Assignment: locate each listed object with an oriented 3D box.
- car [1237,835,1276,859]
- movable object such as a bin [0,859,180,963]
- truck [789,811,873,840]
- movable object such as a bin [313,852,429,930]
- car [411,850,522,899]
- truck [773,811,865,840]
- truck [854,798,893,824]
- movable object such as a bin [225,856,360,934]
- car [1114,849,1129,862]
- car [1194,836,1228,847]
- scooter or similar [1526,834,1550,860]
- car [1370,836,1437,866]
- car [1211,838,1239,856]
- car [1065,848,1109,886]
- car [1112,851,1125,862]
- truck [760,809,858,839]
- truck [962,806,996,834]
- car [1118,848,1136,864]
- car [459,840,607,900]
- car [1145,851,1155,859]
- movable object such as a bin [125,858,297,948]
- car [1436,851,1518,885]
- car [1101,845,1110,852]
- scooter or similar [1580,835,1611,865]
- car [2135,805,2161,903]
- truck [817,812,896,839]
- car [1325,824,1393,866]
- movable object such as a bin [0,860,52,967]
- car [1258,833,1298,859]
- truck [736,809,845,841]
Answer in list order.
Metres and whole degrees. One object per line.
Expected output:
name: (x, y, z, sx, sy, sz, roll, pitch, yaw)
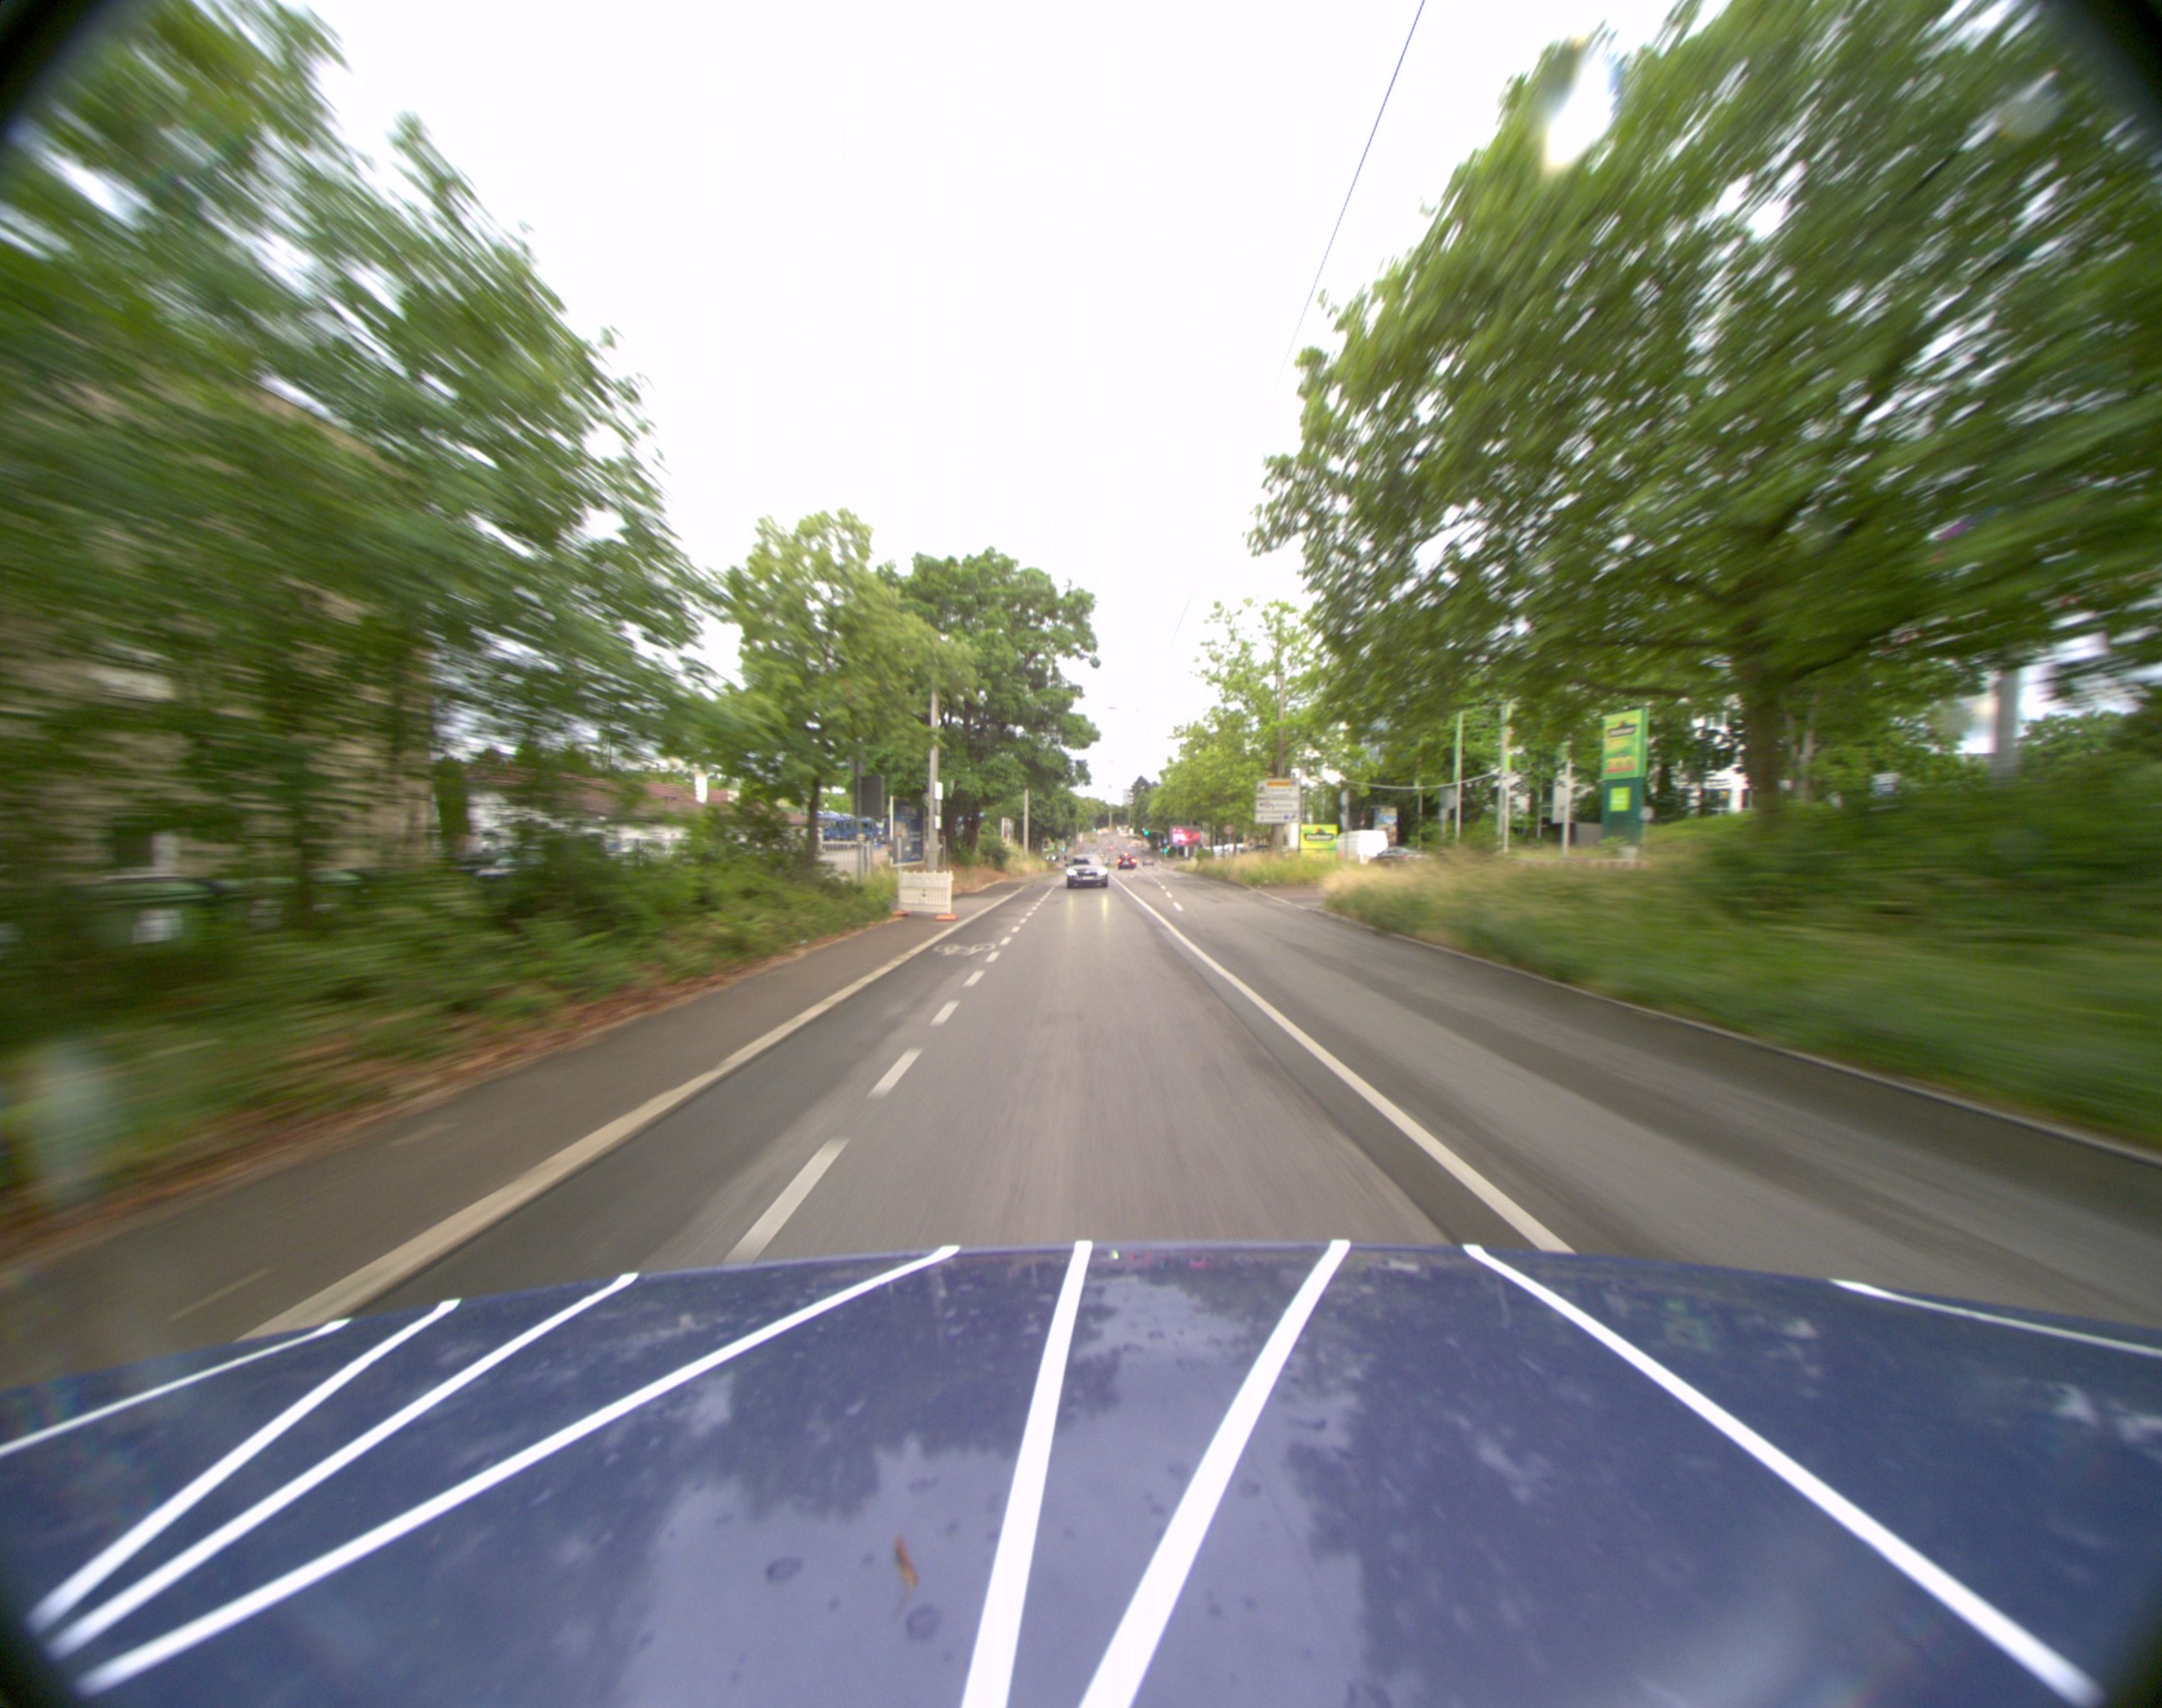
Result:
car: (11.383, -0.492, 49.476, 1.658, 1.444, 3.644, 1, 2, 0)
movable object such as a bin: (-14.897, 0.803, 11.294, 1.308, 1.408, 1.431, 1, 1, 2)
truck: (-25.704, -2.926, 78.294, 7.730, 2.841, 2.585, 0, 3, -1)
movable object such as a bin: (-15.063, 0.749, 16.174, 1.216, 1.577, 1.332, 1, 1, 2)
car: (-21.583, 0.668, 26.843, 1.418, 1.522, 3.016, 1, 2, 0)
truck: (-25.440, -2.808, 74.093, 8.026, 2.724, 2.585, 0, 3, -1)
truck: (-26.937, -5.572, 99.069, 2.256, 3.178, 9.638, -1, 2, 1)
movable object such as a bin: (-15.207, 0.756, 14.713, 1.216, 1.408, 1.332, 1, 1, 2)
car: (5.634, 0.210, 106.416, 1.959, 1.687, 4.626, 1, 1, 3)
car: (22.844, -2.197, 133.536, 5.371, 1.792, 2.218, 0, 3, -6)
scooter or similar: (21.365, -0.315, 35.540, 0.399, 1.150, 0.922, -7, 4, -9)
car: (17.397, -0.184, 41.170, 1.848, 1.460, 3.668, 0, 2, -4)
car: (12.724, -0.583, 67.475, 1.651, 1.469, 4.444, 1, -1, 1)
car: (0.275, 0.555, 33.882, 1.811, 1.509, 4.052, -2, 0, 1)
car: (5.572, 0.345, 112.243, 1.810, 1.522, 4.440, 1, 2, 2)
truck: (-25.082, -2.747, 70.288, 8.112, 2.640, 2.585, 0, 3, -1)
truck: (-10.463, -3.494, 78.567, 2.290, 2.636, 6.050, -5, 2, 1)
car: (5.536, 0.246, 92.169, 2.019, 1.856, 5.042, 1, 0, 2)
car: (-19.125, 0.473, 26.836, 1.786, 1.849, 4.651, 1, 2, 0)
car: (11.144, 0.215, 123.019, 1.380, 1.216, 2.452, 1, 2, 1)
movable object such as a bin: (-14.803, 0.796, 13.000, 1.308, 1.408, 1.419, 1, 1, 2)
car: (18.229, 0.601, 35.191, 1.405, 1.310, 4.276, 0, 2, -2)
car: (5.439, -1.128, 169.110, 1.752, 1.362, 3.754, -3, 2, -1)
scooter or similar: (21.930, -0.199, 32.392, 0.496, 1.238, 1.129, -1, 3, -1)
car: (13.036, 0.054, 7.497, 1.354, 1.124, 2.751, 0, 2, -2)
truck: (-24.163, -3.071, 82.193, 7.757, 2.800, 2.585, 0, 3, -1)
car: (17.515, -0.503, 48.263, 1.968, 2.429, 5.654, 1, -1, -3)
movable object such as a bin: (-14.924, 0.790, 9.863, 1.274, 1.408, 1.357, 1, 1, 2)
car: (11.443, -0.476, 44.377, 1.364, 1.387, 3.706, 1, 2, 0)
truck: (-24.941, -2.504, 65.539, 8.319, 2.602, 2.585, 0, 3, -1)
